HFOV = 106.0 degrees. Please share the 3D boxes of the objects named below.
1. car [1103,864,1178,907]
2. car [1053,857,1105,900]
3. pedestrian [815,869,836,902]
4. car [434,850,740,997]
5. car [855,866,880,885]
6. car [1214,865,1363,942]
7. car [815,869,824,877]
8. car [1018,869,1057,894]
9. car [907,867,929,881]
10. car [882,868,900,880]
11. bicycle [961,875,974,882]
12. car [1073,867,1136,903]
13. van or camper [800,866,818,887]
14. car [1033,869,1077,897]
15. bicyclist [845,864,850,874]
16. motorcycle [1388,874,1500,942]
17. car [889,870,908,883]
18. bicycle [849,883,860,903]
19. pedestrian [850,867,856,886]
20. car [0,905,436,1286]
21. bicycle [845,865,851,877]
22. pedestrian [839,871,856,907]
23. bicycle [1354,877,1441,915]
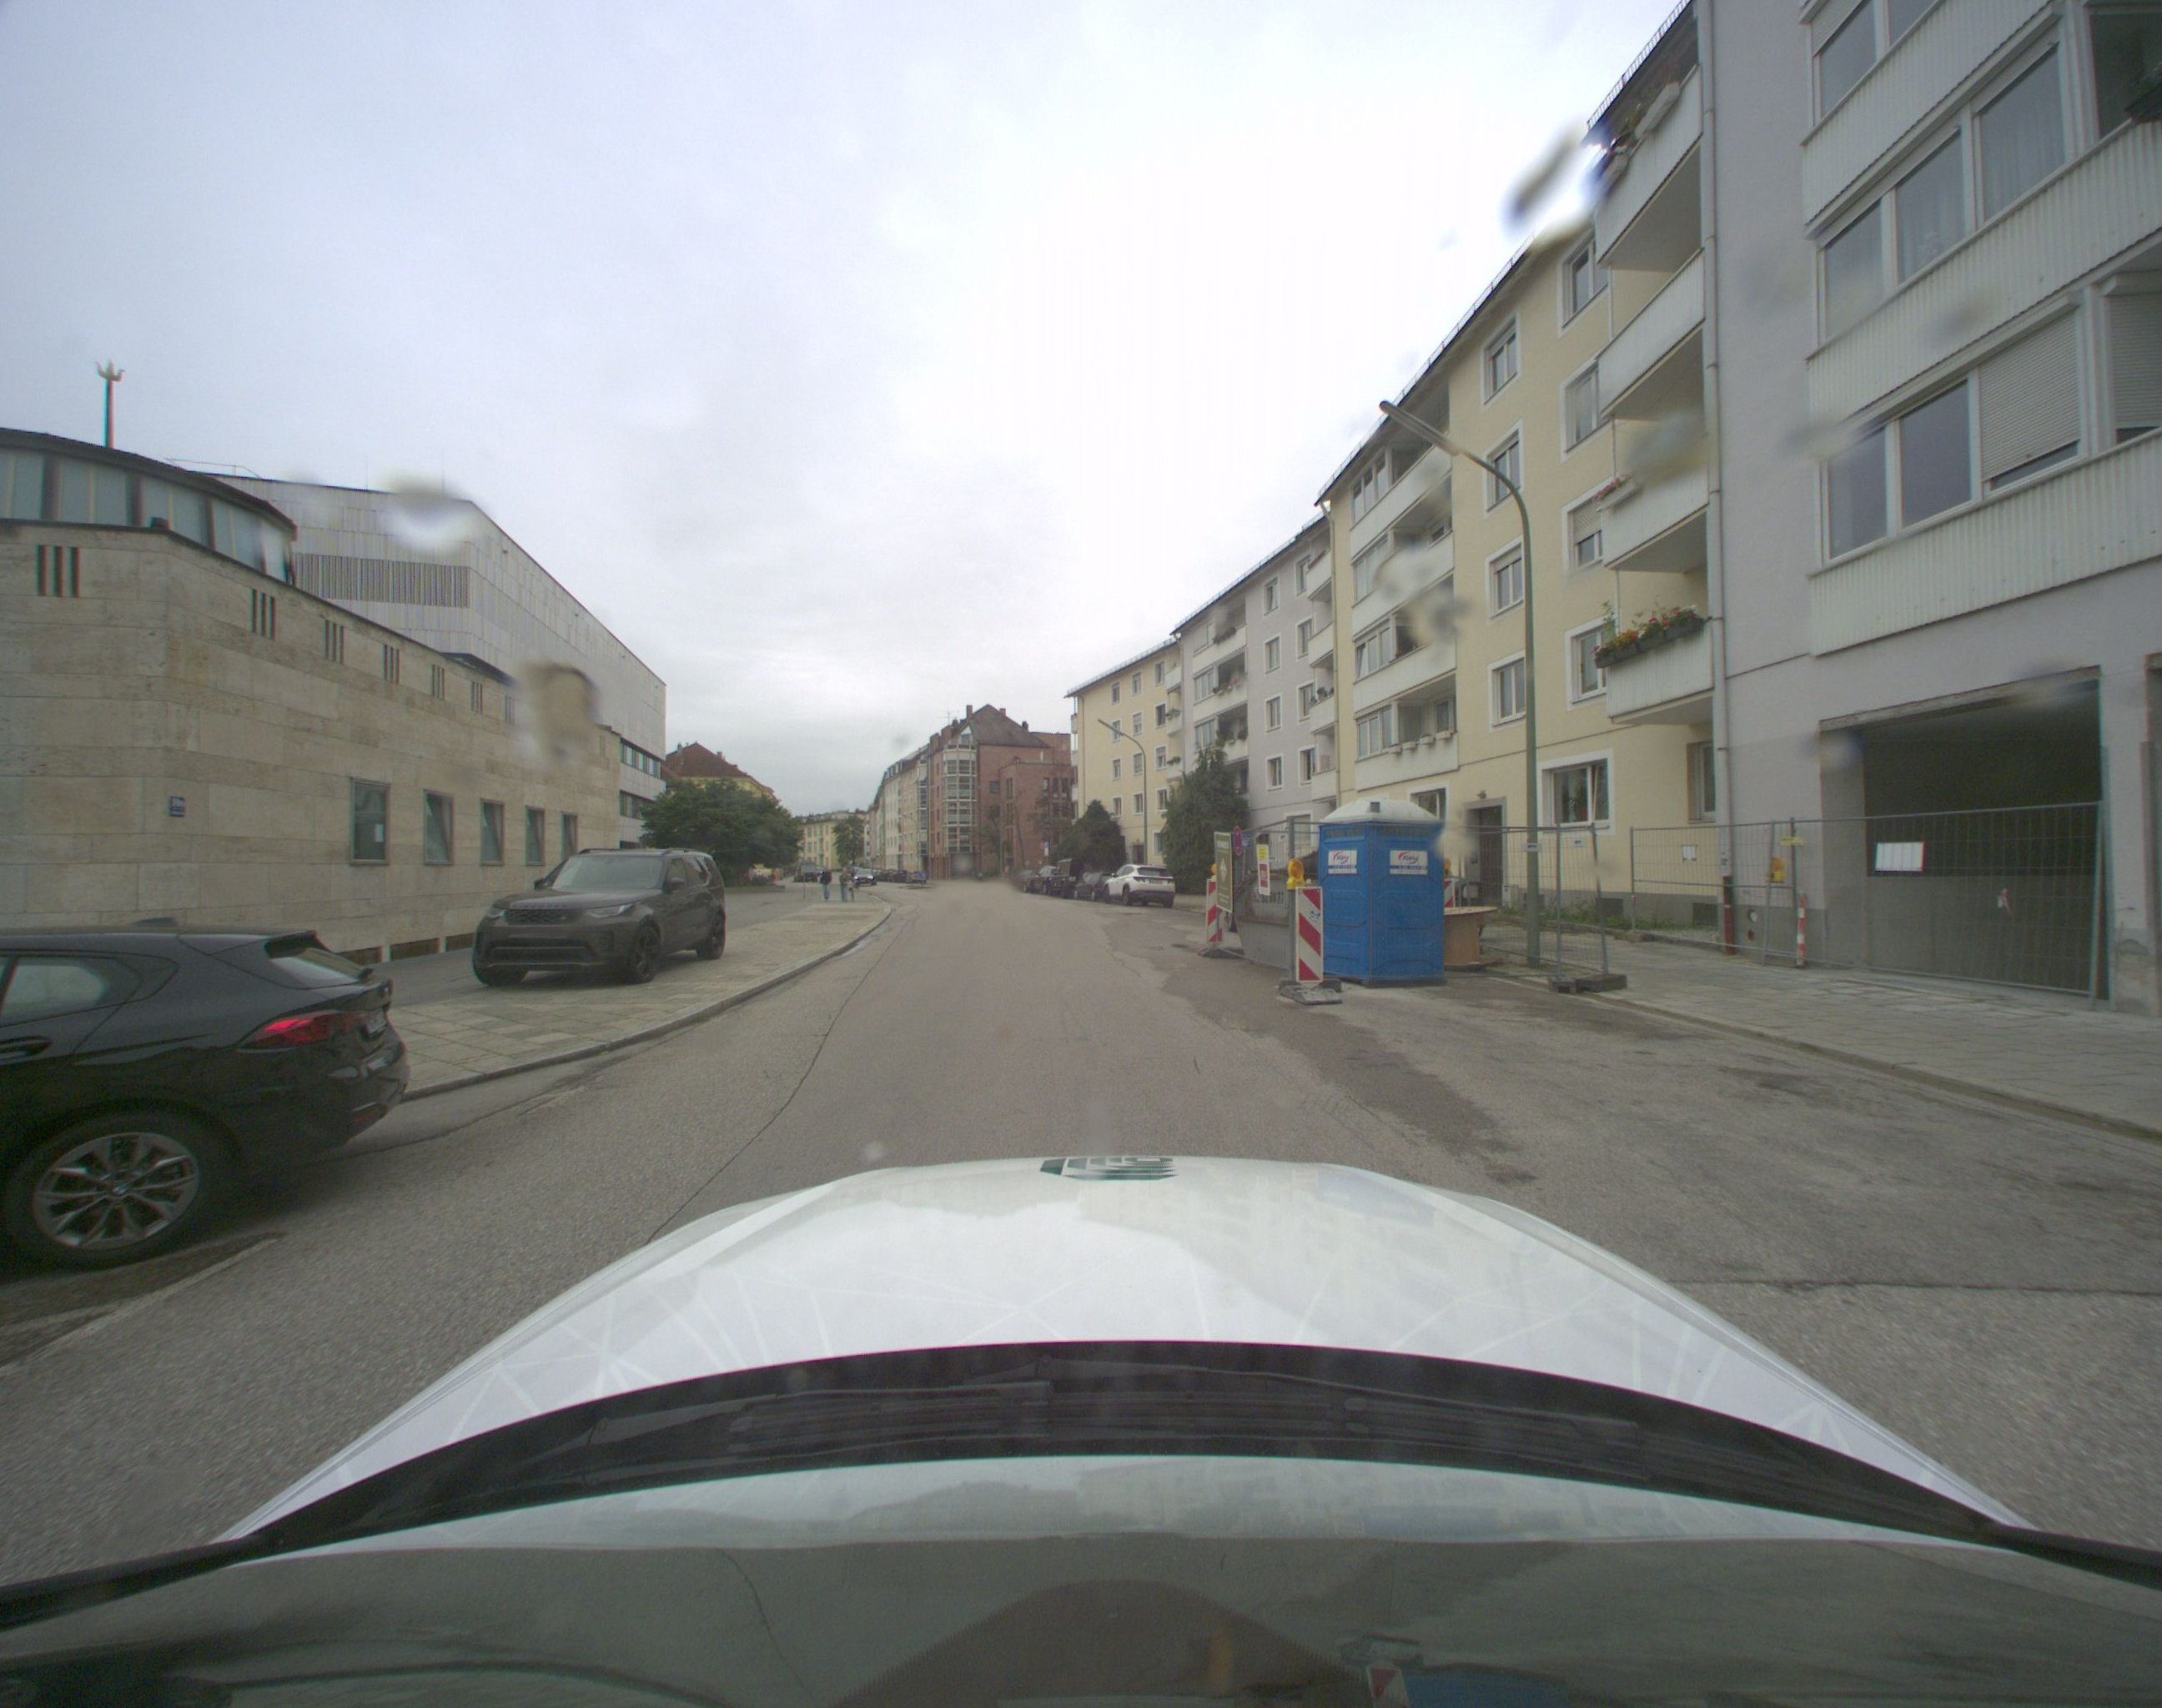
[{"bbox_3d":[2.274,1.202,32.273,1.833,1.574,3.981,0,-1,-13],"label":"car"},{"bbox_3d":[-0.150,1.233,41.408,1.783,1.977,3.702,-2,-1,-14],"label":"car"},{"bbox_3d":[-12.797,1.565,40.815,0.759,1.630,0.920,-1,-1,-1],"label":"pedestrian"},{"bbox_3d":[-6.960,0.882,12.276,2.049,1.736,4.874,0,-1,-6],"label":"car"},{"bbox_3d":[-20.931,2.093,79.712,2.001,1.835,4.137,0,-1,-21],"label":"car"},{"bbox_3d":[4.314,0.967,17.677,1.778,1.439,4.272,-1,-1,-6],"label":"car"},{"bbox_3d":[-54.182,3.914,168.585,1.637,1.483,3.589,0,-1,-17],"label":"car"},{"bbox_3d":[-2.761,1.693,50.960,1.783,1.510,3.702,-1,-1,-14],"label":"car"},{"bbox_3d":[-17.078,2.096,85.152,1.639,1.483,3.585,0,-1,-21],"label":"car"},{"bbox_3d":[-23.186,2.448,99.435,1.639,1.483,3.585,0,-1,-21],"label":"car"},{"bbox_3d":[-13.013,2.806,93.379,1.106,0.854,1.714,0,-1,-24],"label":"bicycle"},{"bbox_3d":[1.020,1.370,37.136,1.786,1.519,3.697,0,-1,-18],"label":"car"},{"bbox_3d":[-33.454,2.759,100.282,2.102,2.551,4.742,0,-1,-18],"label":"van or camper"},{"bbox_3d":[-1.540,1.635,46.670,1.783,1.510,3.702,0,-1,-14],"label":"car"},{"bbox_3d":[-44.541,2.880,155.316,1.036,2.014,1.178,0,-3,-18],"label":"bicyclist"},{"bbox_3d":[7.185,1.021,16.309,0.930,1.221,2.502,0,-1,-6],"label":"motorcycle"},{"bbox_3d":[-21.286,2.599,94.810,1.639,1.483,3.585,0,-1,-21],"label":"car"},{"bbox_3d":[-11.408,1.950,41.023,0.389,0.969,1.709,-1,-1,-10],"label":"bicycle"},{"bbox_3d":[-18.088,1.790,64.593,0.462,1.461,0.441,0,-2,-10],"label":"pedestrian"},{"bbox_3d":[-5.516,1.084,3.566,4.013,1.421,1.795,-3,-1,-33],"label":"car"},{"bbox_3d":[-44.448,3.278,155.165,1.028,2.014,3.261,0,-5,-17],"label":"bicycle"},{"bbox_3d":[-11.693,1.736,40.855,0.735,1.768,0.917,-1,-1,-11],"label":"pedestrian"},{"bbox_3d":[9.344,1.227,24.079,2.229,1.069,0.917,0,-1,-6],"label":"bicycle"}]
